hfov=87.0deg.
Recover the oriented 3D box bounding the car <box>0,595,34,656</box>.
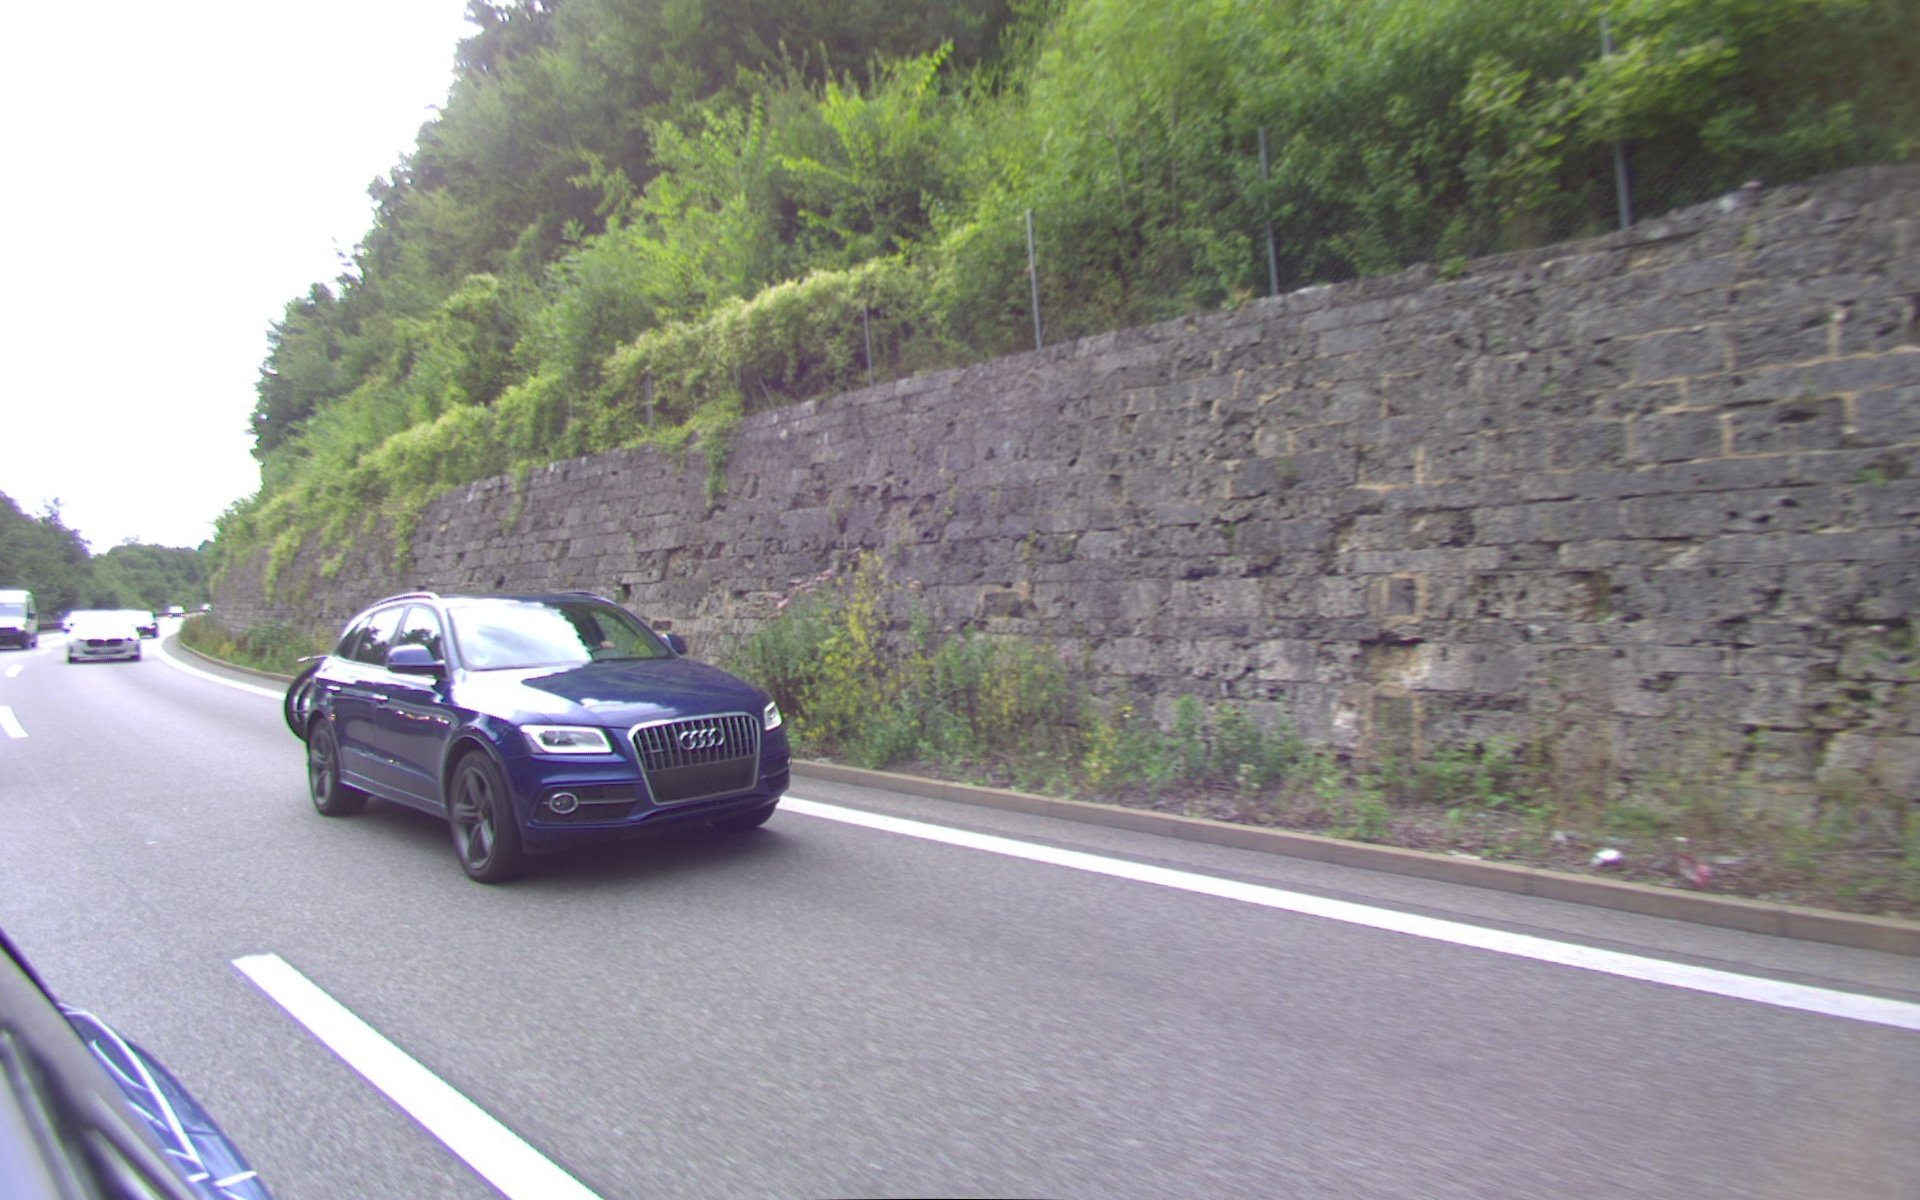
[{"bbox_3d":[-42.229,1.157,44.363,2.067,2.582,5.930,0,-2,-39],"label":"car"}]

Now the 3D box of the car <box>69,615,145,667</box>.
[{"bbox_3d":[-27.811,1.320,33.079,1.795,1.567,4.007,0,-2,-39],"label":"car"}]

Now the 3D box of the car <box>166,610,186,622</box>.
[{"bbox_3d":[-108.822,2.260,140.539,1.794,1.567,4.011,0,-2,-32],"label":"car"}]

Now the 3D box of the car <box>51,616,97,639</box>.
[{"bbox_3d":[-61.746,1.921,70.588,1.794,1.567,4.011,0,-2,-32],"label":"car"}]

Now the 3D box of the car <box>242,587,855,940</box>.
[{"bbox_3d":[-3.365,0.771,7.409,5.586,1.605,1.950,0,2,43],"label":"car"}]
